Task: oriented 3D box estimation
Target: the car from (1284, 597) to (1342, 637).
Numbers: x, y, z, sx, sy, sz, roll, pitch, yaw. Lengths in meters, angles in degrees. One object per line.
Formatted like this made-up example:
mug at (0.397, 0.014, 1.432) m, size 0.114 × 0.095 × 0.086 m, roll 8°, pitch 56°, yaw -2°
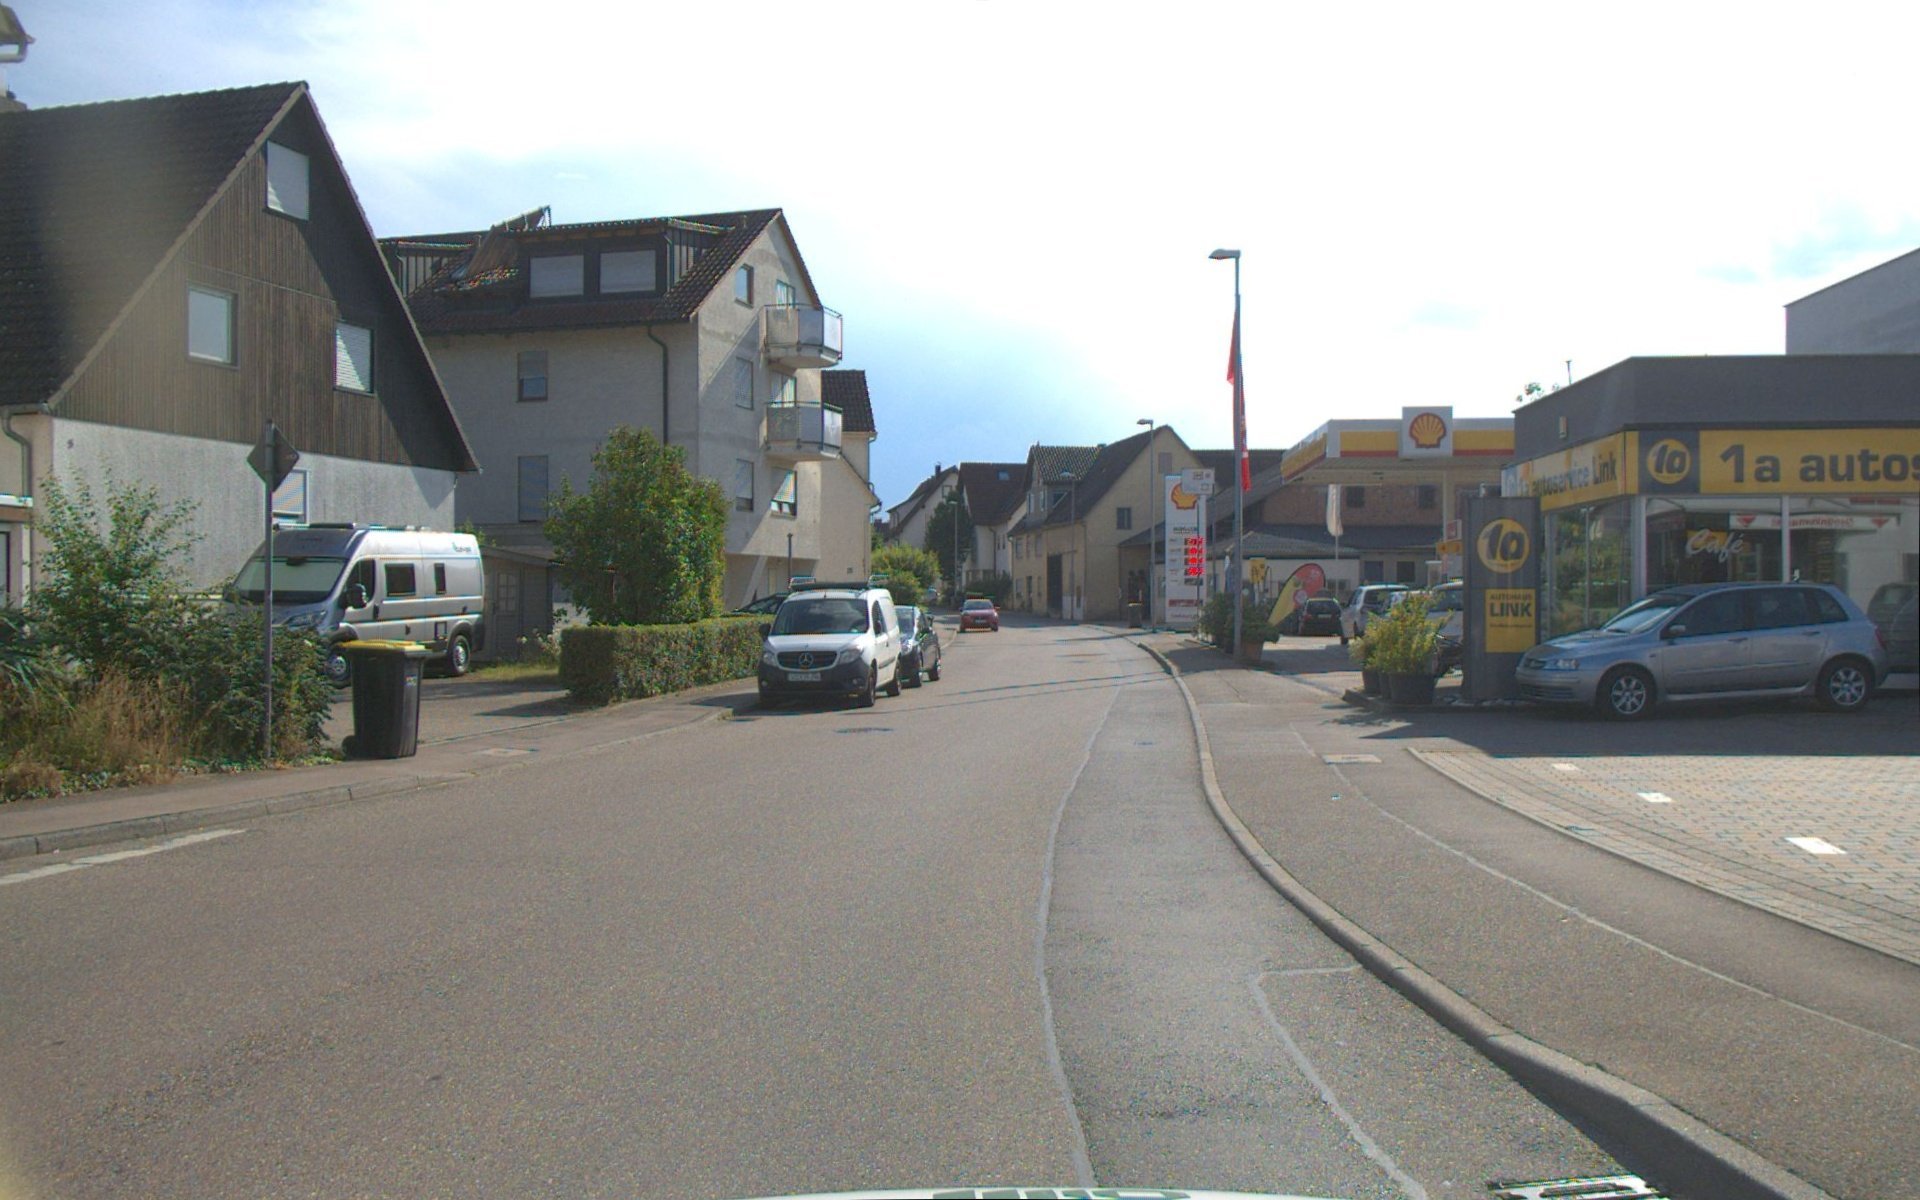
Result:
car at (13.638, 0.638, 64.126) m, size 1.545 × 1.452 × 4.383 m, roll 0°, pitch 0°, yaw 3°

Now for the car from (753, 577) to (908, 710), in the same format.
car at (-1.960, 0.642, 26.282) m, size 1.680 × 1.905 × 4.195 m, roll -2°, pitch 0°, yaw 6°

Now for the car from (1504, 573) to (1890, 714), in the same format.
car at (8.663, 0.491, 19.632) m, size 3.906 × 1.558 × 1.527 m, roll -1°, pitch 0°, yaw -1°

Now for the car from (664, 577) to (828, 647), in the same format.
car at (-5.726, 0.293, 44.408) m, size 3.904 × 1.565 × 1.764 m, roll 4°, pitch 1°, yaw 16°

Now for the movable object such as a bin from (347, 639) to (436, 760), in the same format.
movable object such as a bin at (-5.439, 0.940, 15.838) m, size 0.598 × 1.120 × 0.576 m, roll 1°, pitch -1°, yaw 6°

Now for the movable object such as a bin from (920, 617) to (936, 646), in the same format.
movable object such as a bin at (-1.187, 1.161, 60.964) m, size 0.520 × 1.040 × 0.458 m, roll -2°, pitch 0°, yaw 4°

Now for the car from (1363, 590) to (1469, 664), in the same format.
car at (10.583, 0.581, 38.607) m, size 1.636 × 1.605 × 4.001 m, roll -1°, pitch 0°, yaw 5°

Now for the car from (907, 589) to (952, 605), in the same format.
car at (-2.699, -0.242, 146.203) m, size 3.908 × 1.376 × 1.709 m, roll 0°, pitch 0°, yaw -4°

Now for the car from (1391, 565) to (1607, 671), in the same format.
car at (9.607, 0.295, 29.359) m, size 4.036 × 1.704 × 1.655 m, roll -2°, pitch 0°, yaw -38°

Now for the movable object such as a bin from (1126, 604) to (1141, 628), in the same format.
movable object such as a bin at (7.944, 0.722, 75.804) m, size 0.639 × 1.092 × 0.513 m, roll 0°, pitch 0°, yaw 2°

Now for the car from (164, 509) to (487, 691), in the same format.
car at (-10.149, -0.022, 27.189) m, size 2.112 × 2.641 × 6.099 m, roll 1°, pitch 0°, yaw 10°

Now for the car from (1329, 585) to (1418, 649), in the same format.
car at (10.978, 0.422, 44.126) m, size 1.636 × 1.605 × 4.001 m, roll -1°, pitch 0°, yaw 5°

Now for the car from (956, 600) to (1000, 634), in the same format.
car at (0.803, 0.774, 76.222) m, size 1.675 × 1.460 × 3.776 m, roll -2°, pitch 0°, yaw -5°

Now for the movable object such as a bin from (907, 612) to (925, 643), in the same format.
movable object such as a bin at (-1.567, 0.988, 59.301) m, size 0.576 × 1.103 × 0.508 m, roll -2°, pitch 0°, yaw 4°

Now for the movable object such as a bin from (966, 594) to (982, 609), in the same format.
movable object such as a bin at (1.028, 0.114, 125.290) m, size 1.139 × 1.189 × 0.654 m, roll 0°, pitch 0°, yaw -7°

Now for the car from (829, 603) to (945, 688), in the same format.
car at (-1.329, 0.823, 31.617) m, size 1.637 × 1.477 × 3.837 m, roll -1°, pitch 0°, yaw 6°
